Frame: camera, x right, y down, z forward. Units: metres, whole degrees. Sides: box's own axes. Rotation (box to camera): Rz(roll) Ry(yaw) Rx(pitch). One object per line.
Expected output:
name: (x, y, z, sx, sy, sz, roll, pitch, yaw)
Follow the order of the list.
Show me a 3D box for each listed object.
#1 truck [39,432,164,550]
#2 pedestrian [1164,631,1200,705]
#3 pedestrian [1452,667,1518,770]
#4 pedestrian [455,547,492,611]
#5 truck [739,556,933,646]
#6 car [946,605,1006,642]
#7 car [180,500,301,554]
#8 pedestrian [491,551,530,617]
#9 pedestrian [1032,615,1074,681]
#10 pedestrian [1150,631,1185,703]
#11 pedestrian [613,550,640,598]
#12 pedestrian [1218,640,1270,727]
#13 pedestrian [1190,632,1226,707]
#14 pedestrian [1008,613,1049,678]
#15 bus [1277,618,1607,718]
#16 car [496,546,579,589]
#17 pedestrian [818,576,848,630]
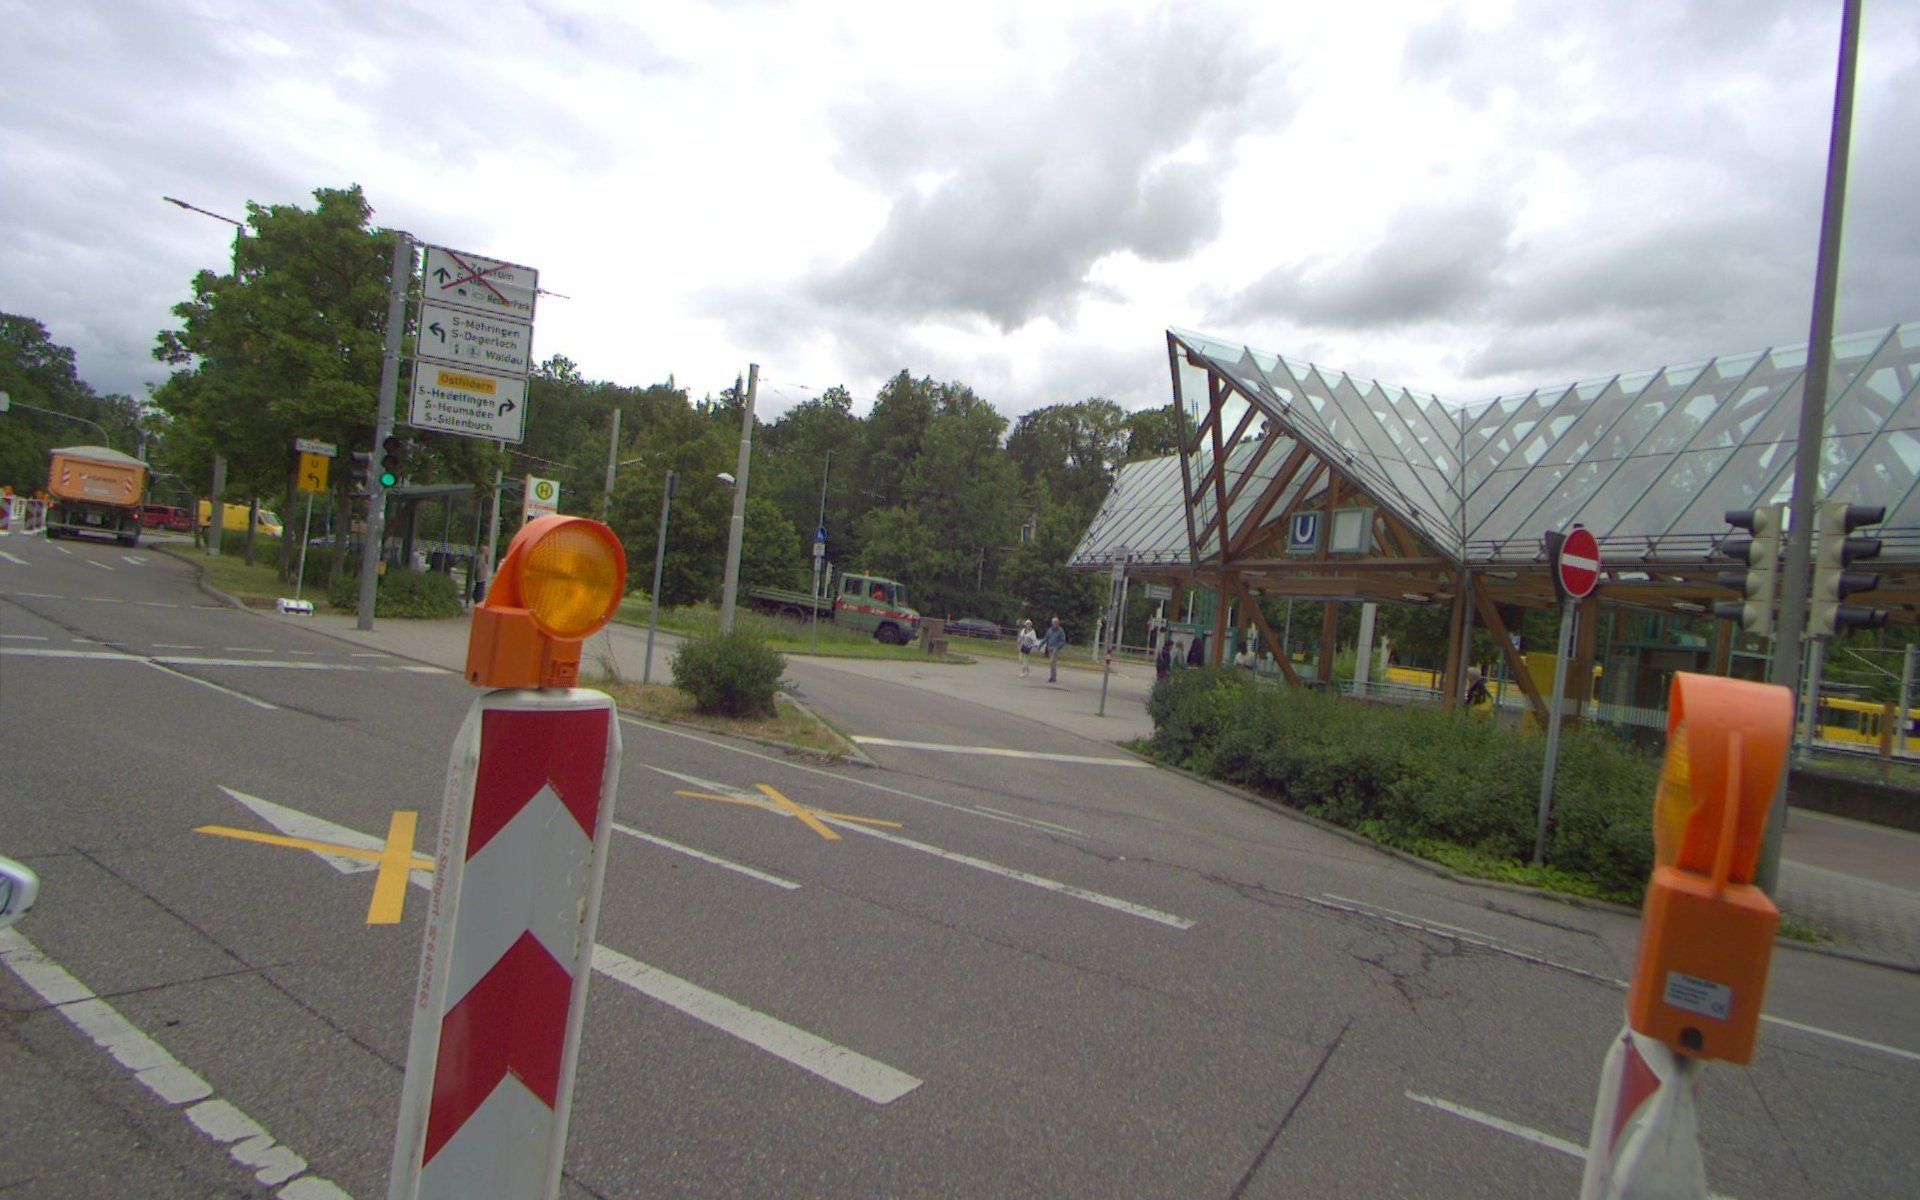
truck: (-31.909, -3.997, 37.701, 2.844, 3.558, 8.161, 7, 1, -38)
pedestrian: (5.601, 1.726, 25.381, 0.589, 1.778, 0.668, 7, -1, 22)
pedestrian: (9.687, 2.167, 18.576, 0.645, 1.778, 0.668, 7, -1, -9)
pedestrian: (-12.355, -0.529, 25.551, 0.471, 1.534, 0.522, 7, -1, 28)
truck: (-4.480, 0.075, 36.929, 6.419, 2.379, 2.410, 7, -2, 10)
car: (1.074, 1.617, 69.809, 3.927, 2.037, 2.001, 7, -1, -1)
car: (-46.490, -4.685, 65.084, 6.036, 2.523, 2.001, 7, -1, -1)
pedestrian: (-11.023, -0.387, 24.671, 0.471, 1.534, 0.522, 7, -1, 28)
pedestrian: (2.655, 1.370, 28.630, 0.727, 1.778, 0.665, 6, -1, 45)
pedestrian: (5.403, 1.742, 26.225, 0.655, 1.778, 0.562, 7, -1, 9)
pedestrian: (-17.112, -1.346, 51.622, 0.846, 2.321, 0.617, 7, -1, 17)
pedestrian: (6.189, 1.812, 21.900, 0.664, 1.778, 0.648, 8, -1, -44)
pedestrian: (6.198, 1.740, 25.096, 0.589, 1.778, 0.668, 7, -1, 22)
pedestrian: (1.996, 1.321, 29.138, 0.664, 1.778, 0.728, 8, -1, -44)
bus: (28.955, 4.055, 60.837, 18.248, 3.523, 3.978, 8, -2, -5)
car: (-27.270, -2.079, 65.024, 4.248, 2.037, 2.001, 7, -1, -1)
pedestrian: (-7.772, 0.191, 61.615, 1.093, 3.080, 1.027, 7, -1, 17)
